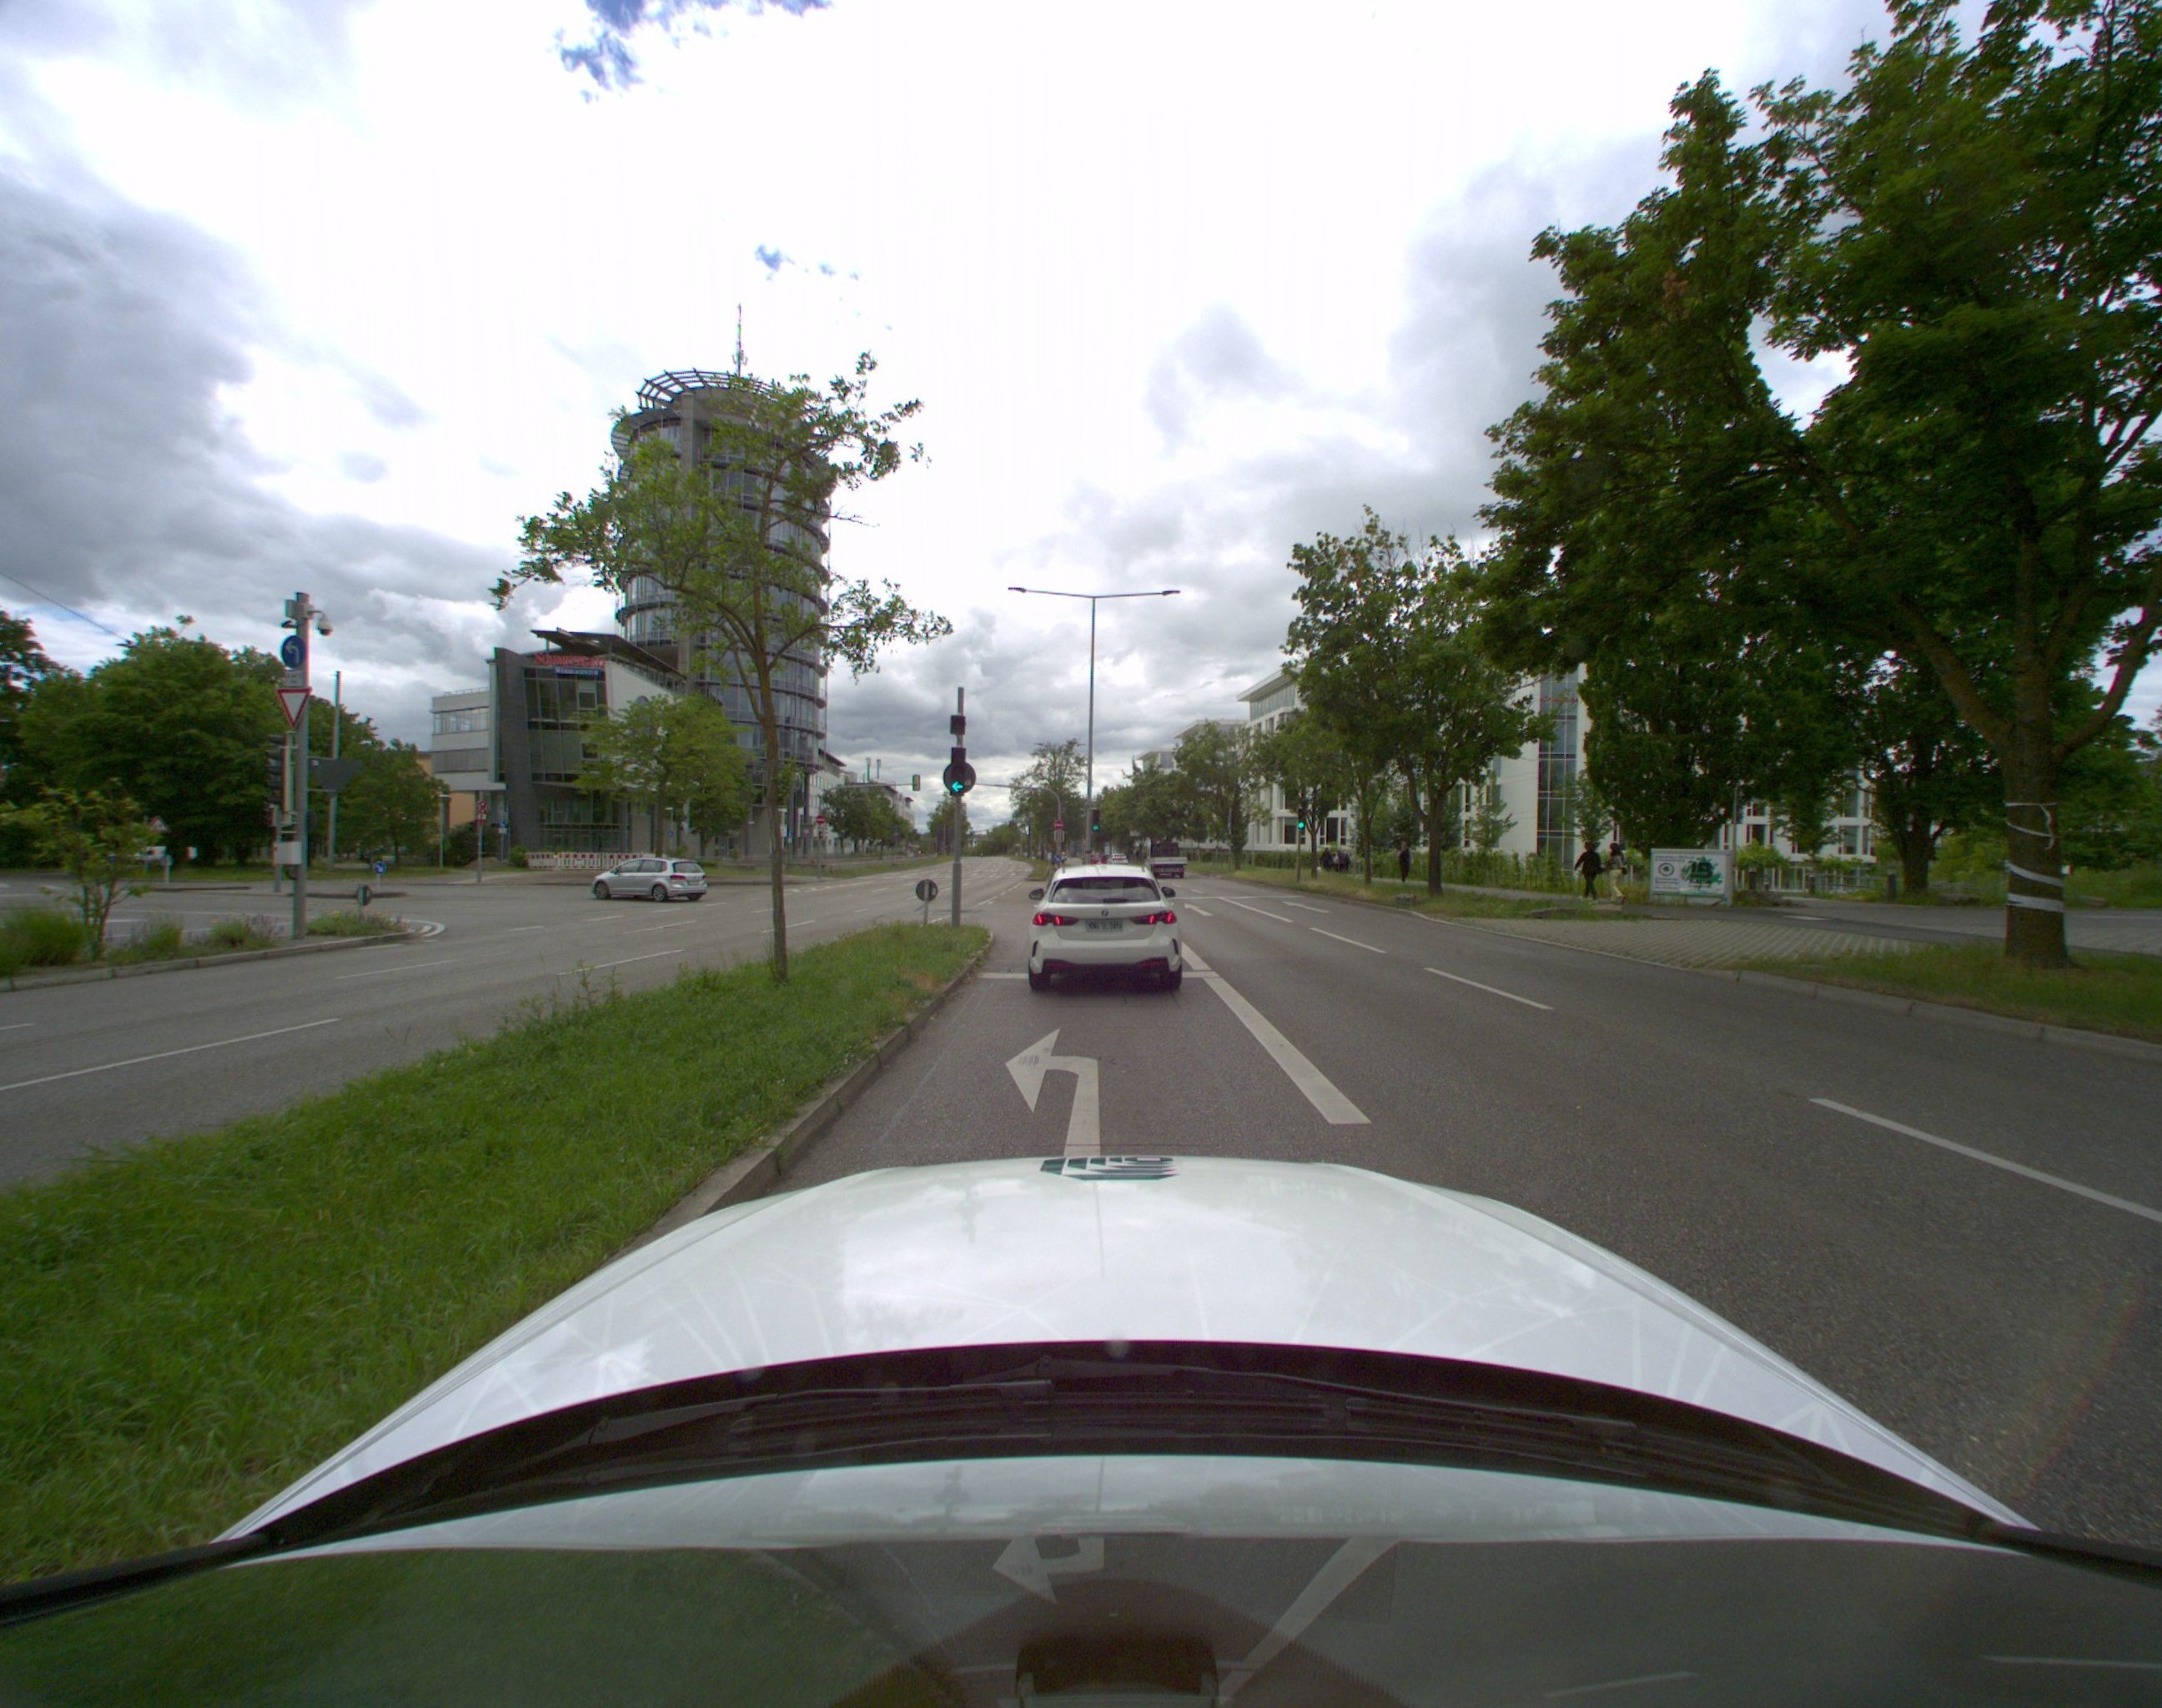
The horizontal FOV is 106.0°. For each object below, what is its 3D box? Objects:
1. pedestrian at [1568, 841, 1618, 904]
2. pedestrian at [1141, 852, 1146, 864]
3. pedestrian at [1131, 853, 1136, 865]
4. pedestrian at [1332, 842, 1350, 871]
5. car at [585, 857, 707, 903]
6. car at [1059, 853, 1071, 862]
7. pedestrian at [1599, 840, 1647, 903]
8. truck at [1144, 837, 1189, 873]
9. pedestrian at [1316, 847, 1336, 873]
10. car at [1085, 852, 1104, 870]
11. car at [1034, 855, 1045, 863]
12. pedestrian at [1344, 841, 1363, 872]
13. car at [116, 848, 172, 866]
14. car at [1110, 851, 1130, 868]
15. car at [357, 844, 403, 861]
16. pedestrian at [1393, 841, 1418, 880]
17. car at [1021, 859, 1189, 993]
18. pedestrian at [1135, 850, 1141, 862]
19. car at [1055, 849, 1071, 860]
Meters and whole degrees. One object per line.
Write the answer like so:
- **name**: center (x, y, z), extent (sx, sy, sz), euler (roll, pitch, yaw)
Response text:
- **pedestrian**: center (13.881, 0.480, 22.090), extent (0.791, 1.660, 1.062), euler (0, 0, 8)
- **pedestrian**: center (10.586, 0.749, 138.217), extent (0.763, 2.014, 0.751), euler (0, -1, -13)
- **pedestrian**: center (8.960, 0.873, 138.909), extent (0.763, 2.014, 0.751), euler (0, -1, -13)
- **pedestrian**: center (14.519, 0.151, 45.520), extent (0.697, 1.595, 0.883), euler (0, -1, 1)
- **car**: center (-15.653, 0.907, 29.332), extent (3.954, 1.569, 1.562), euler (0, 0, 19)
- **car**: center (-2.981, 0.664, 147.643), extent (1.852, 1.596, 4.305), euler (-1, 0, -5)
- **pedestrian**: center (14.695, 0.455, 22.105), extent (0.774, 1.660, 0.954), euler (0, 0, 8)
- **truck**: center (5.518, 0.068, 53.352), extent (2.205, 2.203, 5.840), euler (0, 0, -2)
- **pedestrian**: center (13.748, 0.321, 45.666), extent (0.786, 1.448, 1.112), euler (0, -1, 1)
- **car**: center (1.194, 0.631, 73.688), extent (1.711, 1.558, 3.857), euler (-1, 0, 0)
- **car**: center (-7.937, 0.910, 154.738), extent (1.889, 1.596, 4.305), euler (0, 0, -5)
- **pedestrian**: center (15.283, 0.153, 45.746), extent (0.764, 1.685, 0.883), euler (0, -1, 1)
- **car**: center (-128.504, 0.435, 111.701), extent (1.978, 2.339, 4.570), euler (0, -1, 17)
- **car**: center (3.724, 0.554, 78.905), extent (1.710, 1.555, 4.088), euler (0, 0, -1)
- **car**: center (-37.061, -0.056, 43.075), extent (0.766, 0.876, 1.730), euler (0, 0, 39)
- **pedestrian**: center (13.039, 0.256, 32.743), extent (0.739, 1.574, 0.674), euler (0, -1, 1)
- **car**: center (0.343, 0.805, 10.873), extent (1.815, 1.438, 4.002), euler (0, -1, 2)
- **pedestrian**: center (9.603, 0.272, 136.950), extent (0.849, 2.014, 0.603), euler (0, 0, -13)
- **car**: center (-2.643, 0.077, 118.285), extent (1.854, 1.596, 4.301), euler (-1, 0, -8)
